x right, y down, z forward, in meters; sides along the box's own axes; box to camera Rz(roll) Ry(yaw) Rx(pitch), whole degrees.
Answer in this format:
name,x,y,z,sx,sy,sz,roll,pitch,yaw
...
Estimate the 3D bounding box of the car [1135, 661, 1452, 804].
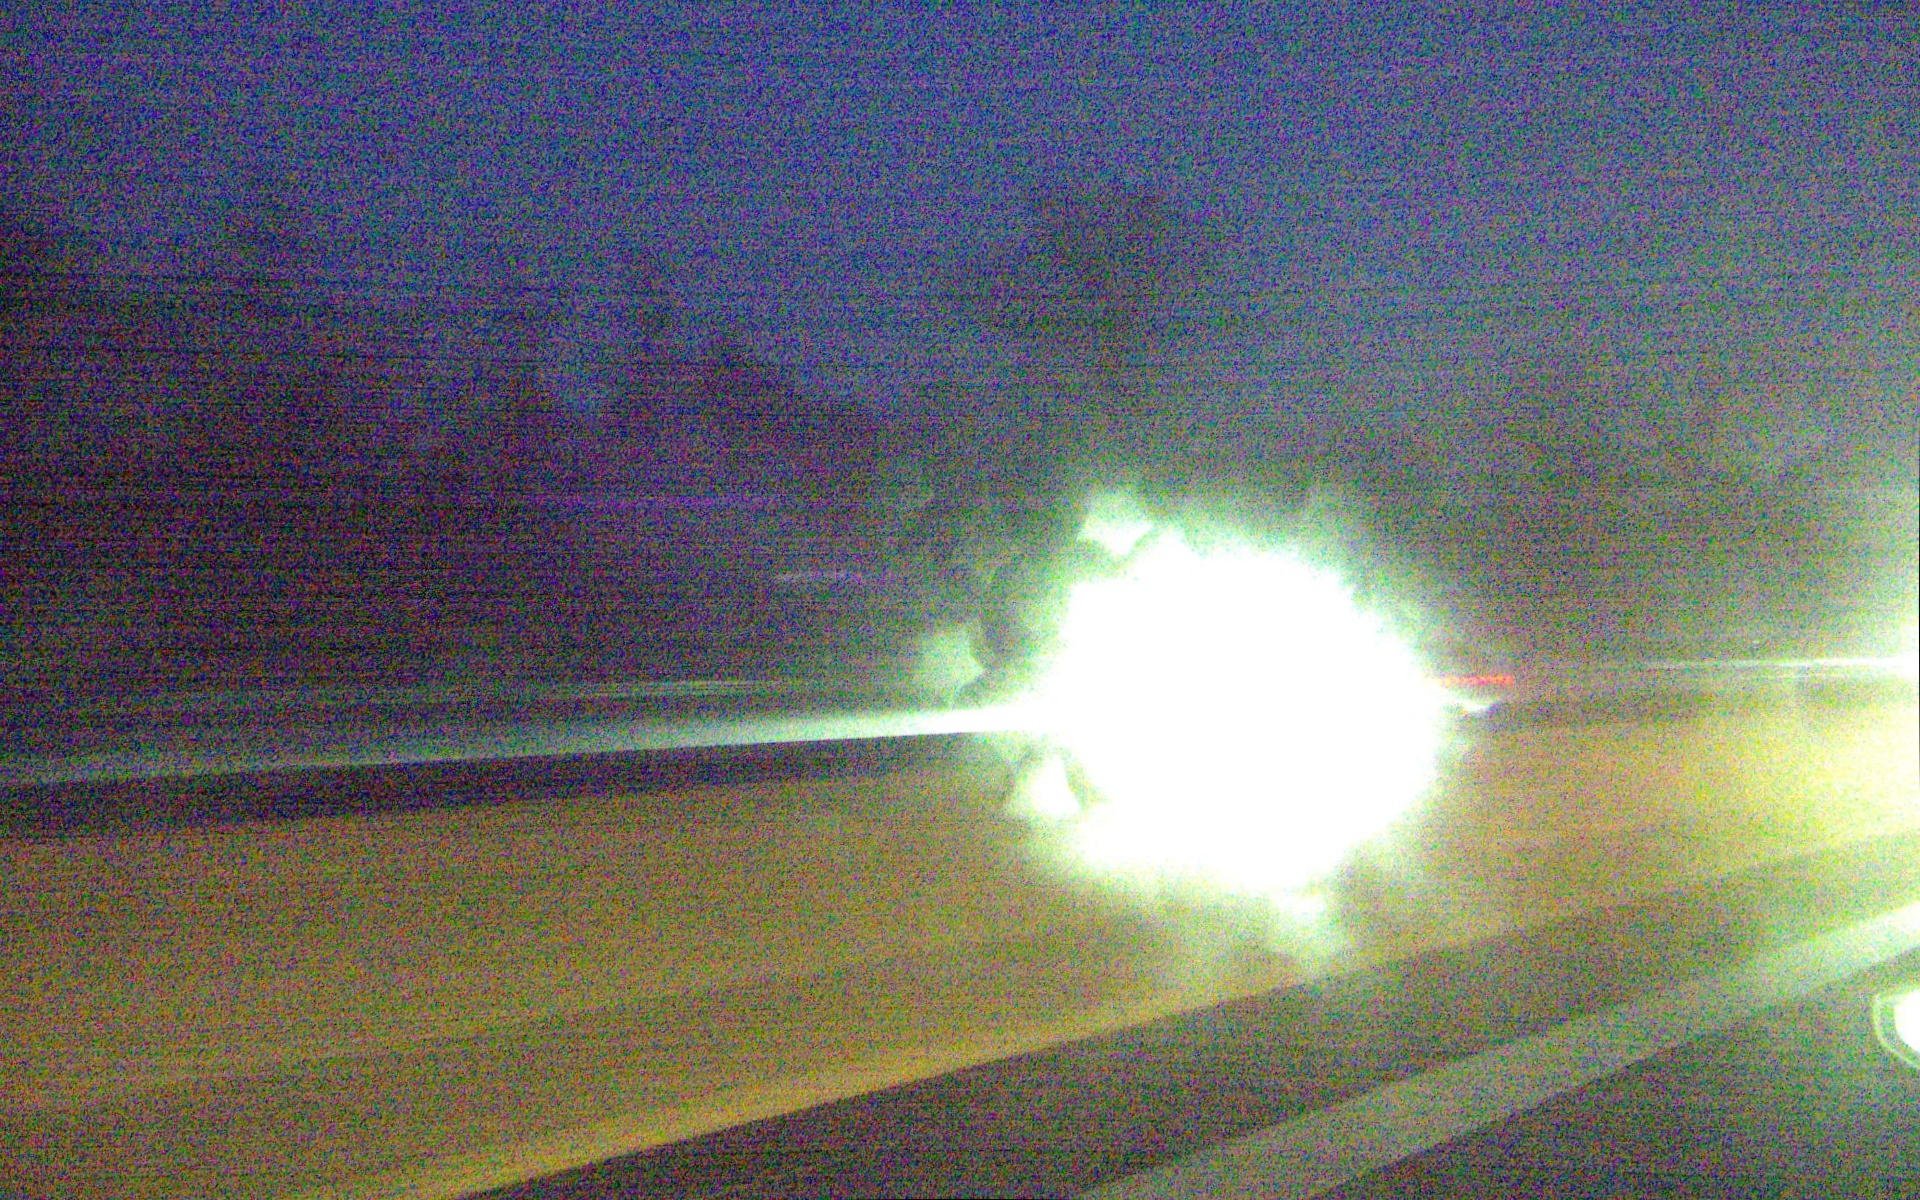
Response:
name,x,y,z,sx,sy,sz,roll,pitch,yaw
car,4.534,1.644,13.480,4.246,1.584,1.702,2,-2,-31
